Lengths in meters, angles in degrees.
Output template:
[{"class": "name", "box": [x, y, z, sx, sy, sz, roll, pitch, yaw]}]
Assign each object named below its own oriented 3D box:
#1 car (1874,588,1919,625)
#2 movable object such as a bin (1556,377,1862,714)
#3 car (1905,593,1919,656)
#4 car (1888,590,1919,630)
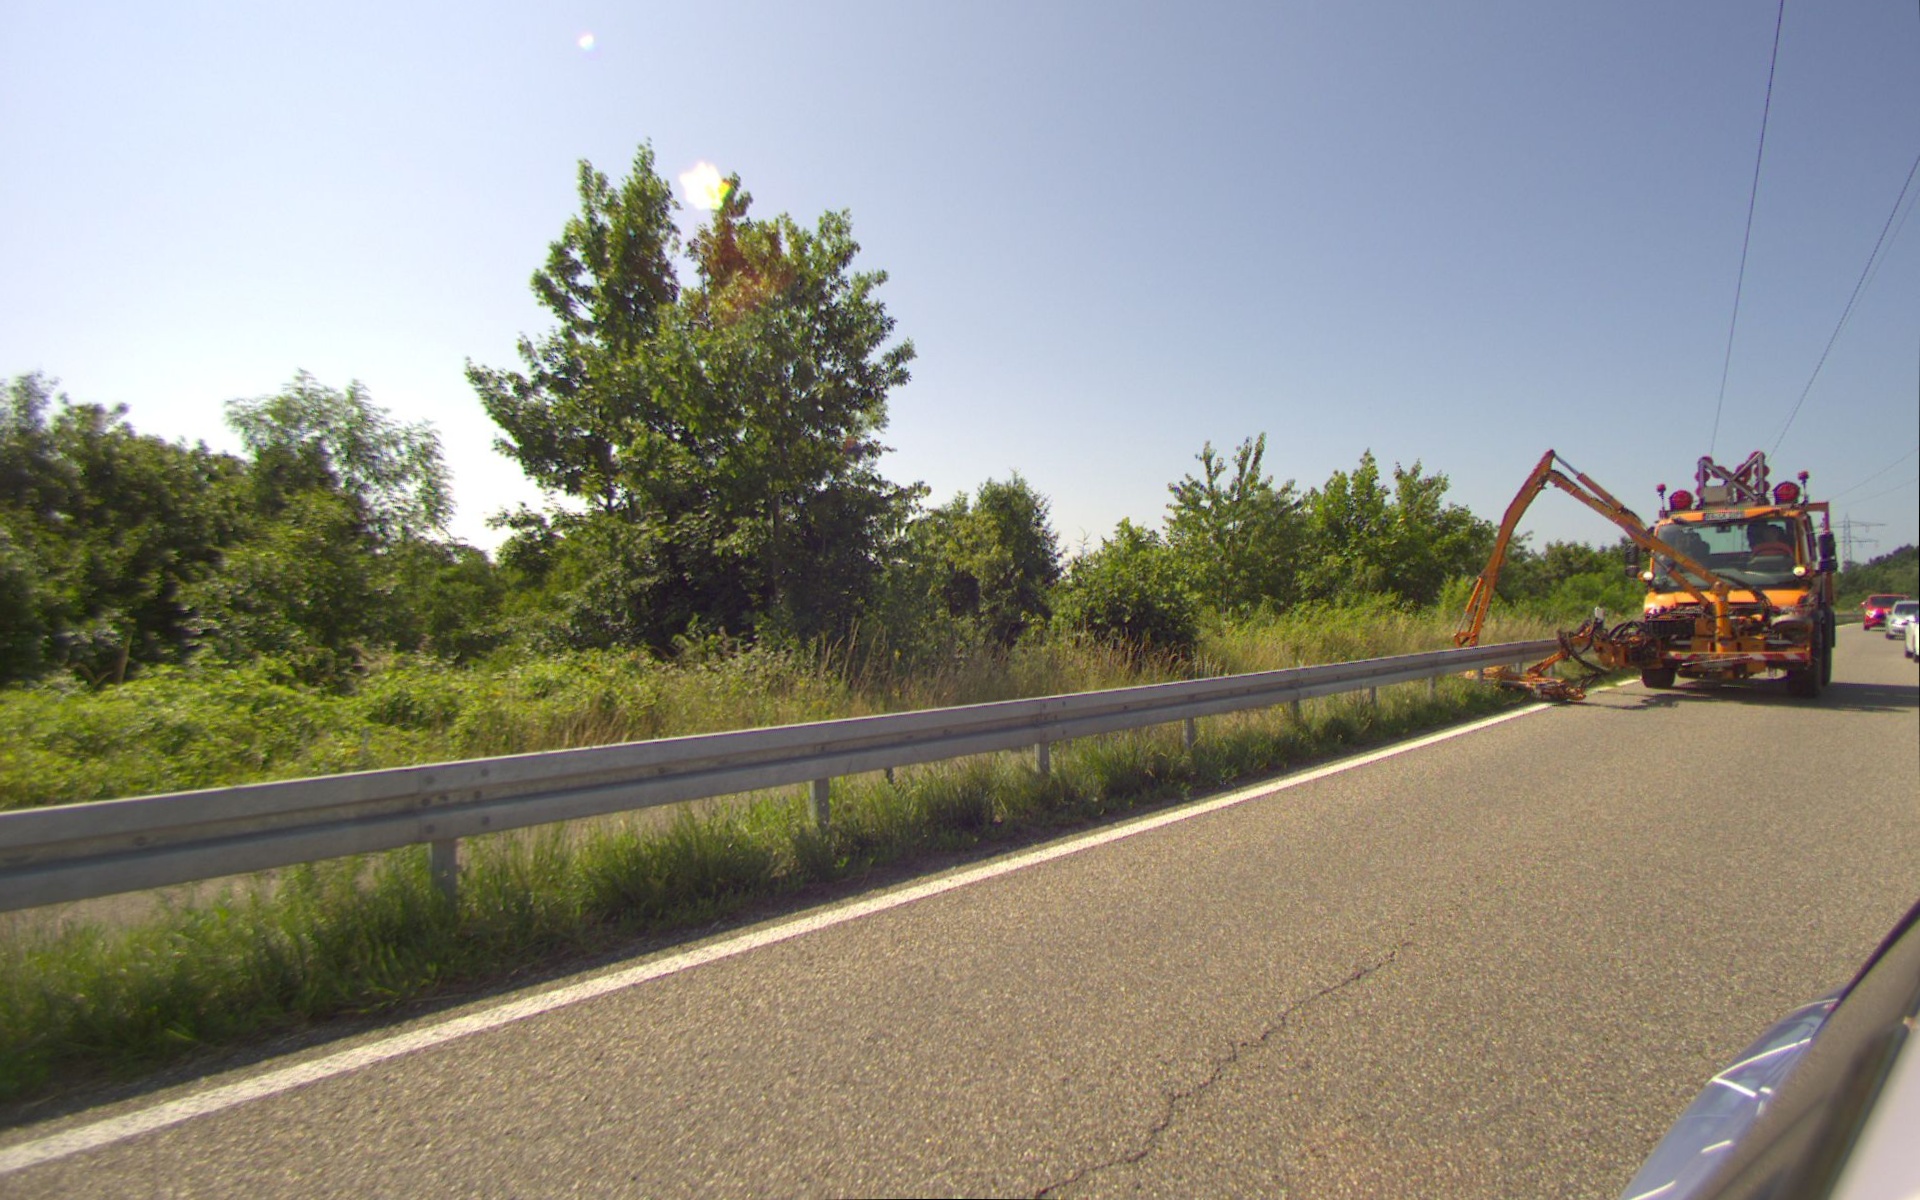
[{"class": "car", "box": [51.912, 0.357, 55.854, 2.120, 1.970, 4.941, 1, 0, 43]}, {"class": "movable object such as a bin", "box": [12.206, -0.638, 16.006, 2.753, 3.888, 9.295, 0, 0, 44]}, {"class": "car", "box": [24.839, 0.596, 24.953, 1.915, 1.524, 4.725, 1, 0, 39]}, {"class": "car", "box": [38.999, 0.400, 40.881, 1.915, 1.568, 4.725, 1, 0, 39]}]
